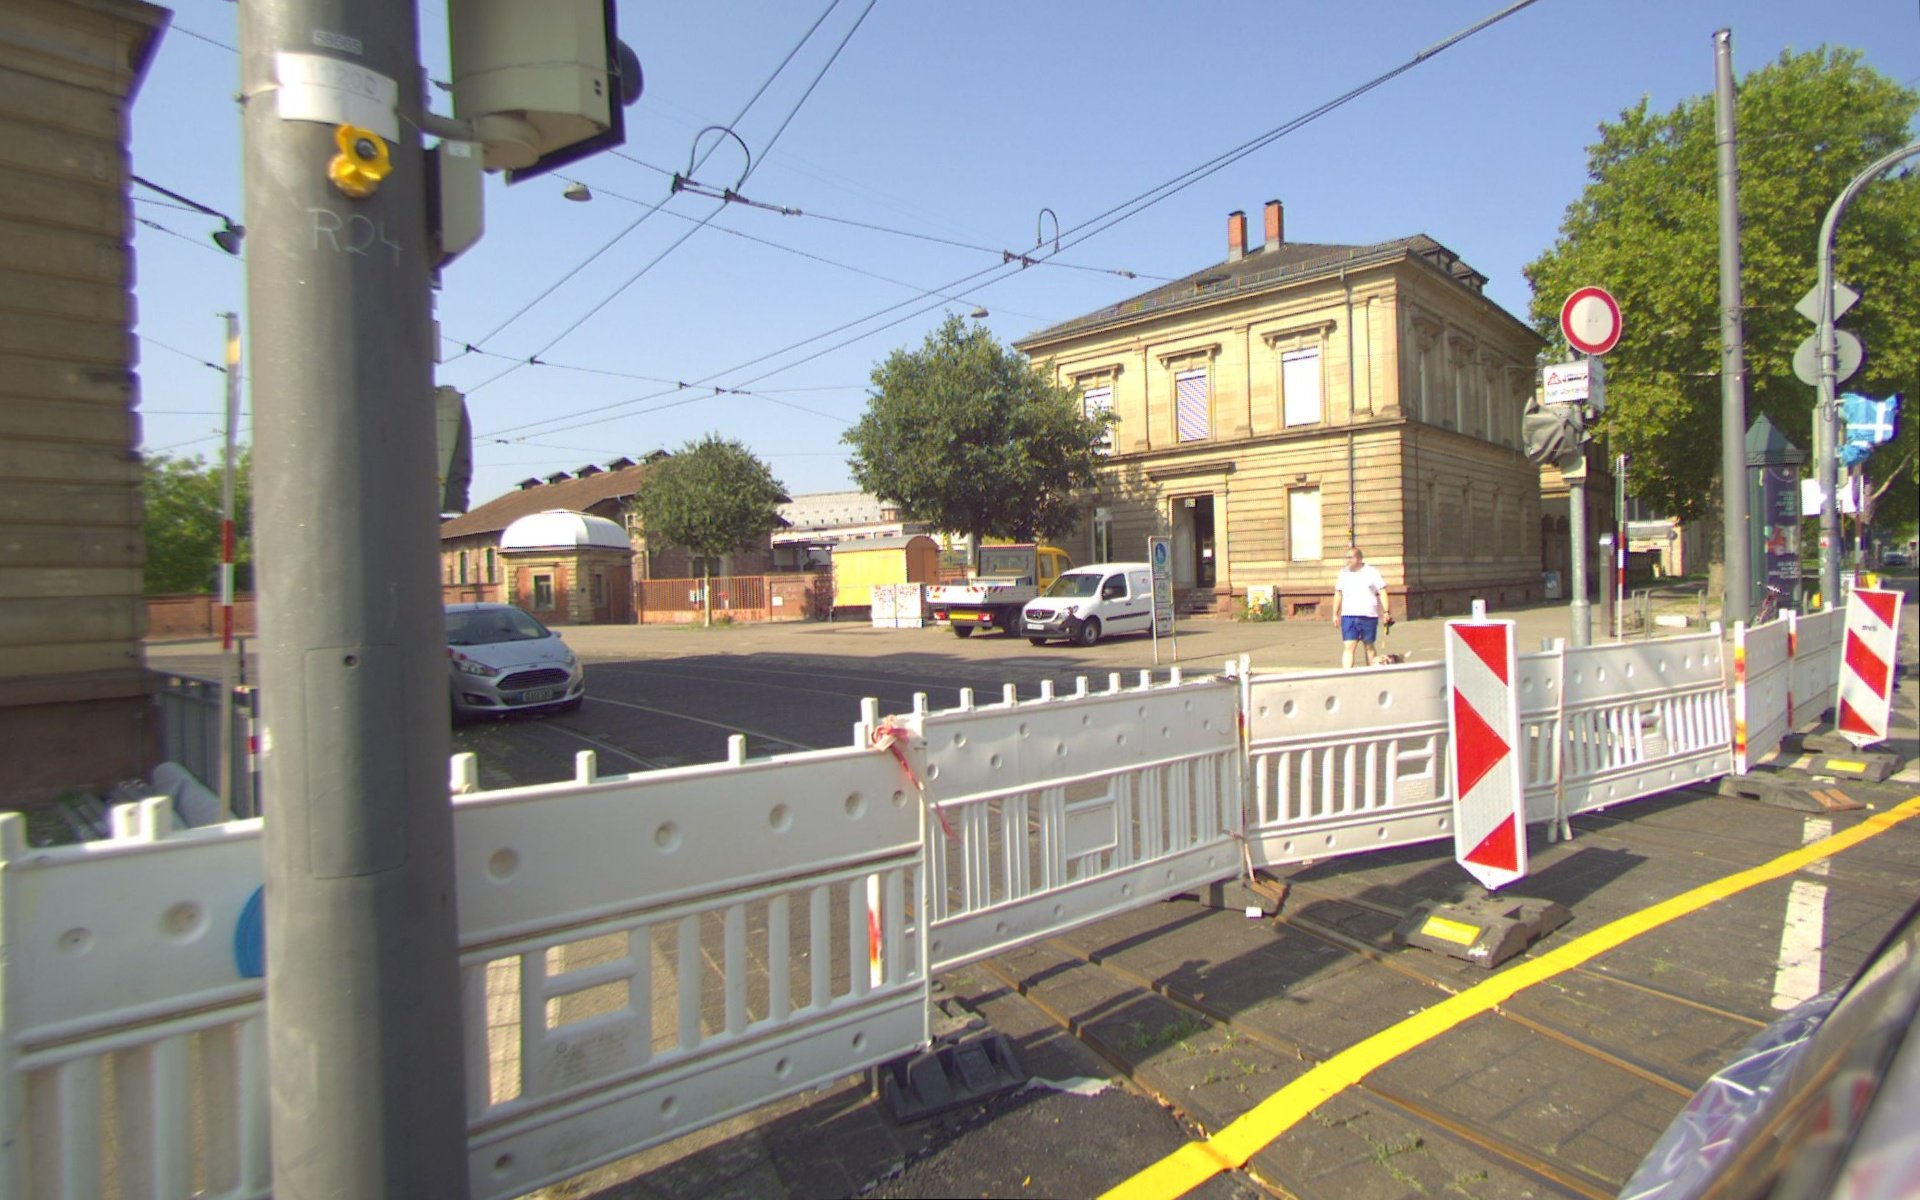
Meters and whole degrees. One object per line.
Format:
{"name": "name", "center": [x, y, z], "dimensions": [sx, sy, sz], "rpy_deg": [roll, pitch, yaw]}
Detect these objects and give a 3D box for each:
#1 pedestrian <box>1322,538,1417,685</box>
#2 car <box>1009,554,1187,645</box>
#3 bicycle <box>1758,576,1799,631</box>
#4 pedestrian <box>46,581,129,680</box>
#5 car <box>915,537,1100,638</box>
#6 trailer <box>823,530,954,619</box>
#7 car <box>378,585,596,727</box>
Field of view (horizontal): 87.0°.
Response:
{"name": "pedestrian", "center": [5.111, 0.130, 12.638], "dimensions": [0.865, 1.758, 0.661], "rpy_deg": [-2, 1, 42]}
{"name": "car", "center": [3.271, -0.077, 23.465], "dimensions": [4.157, 1.804, 1.905], "rpy_deg": [-5, 3, -44]}
{"name": "bicycle", "center": [16.591, 0.050, 20.503], "dimensions": [0.538, 1.019, 1.547], "rpy_deg": [-1, 3, 43]}
{"name": "pedestrian", "center": [-17.372, 0.596, 20.167], "dimensions": [0.665, 1.887, 1.028], "rpy_deg": [-2, 1, 29]}
{"name": "car", "center": [1.434, -0.411, 27.477], "dimensions": [2.252, 2.453, 5.416], "rpy_deg": [-2, 1, 38]}
{"name": "trailer", "center": [-2.651, -0.946, 37.246], "dimensions": [4.096, 3.085, 2.483], "rpy_deg": [0, 3, 37]}
{"name": "car", "center": [-6.371, 0.618, 13.409], "dimensions": [1.636, 1.556, 4.007], "rpy_deg": [-2, 1, -40]}
